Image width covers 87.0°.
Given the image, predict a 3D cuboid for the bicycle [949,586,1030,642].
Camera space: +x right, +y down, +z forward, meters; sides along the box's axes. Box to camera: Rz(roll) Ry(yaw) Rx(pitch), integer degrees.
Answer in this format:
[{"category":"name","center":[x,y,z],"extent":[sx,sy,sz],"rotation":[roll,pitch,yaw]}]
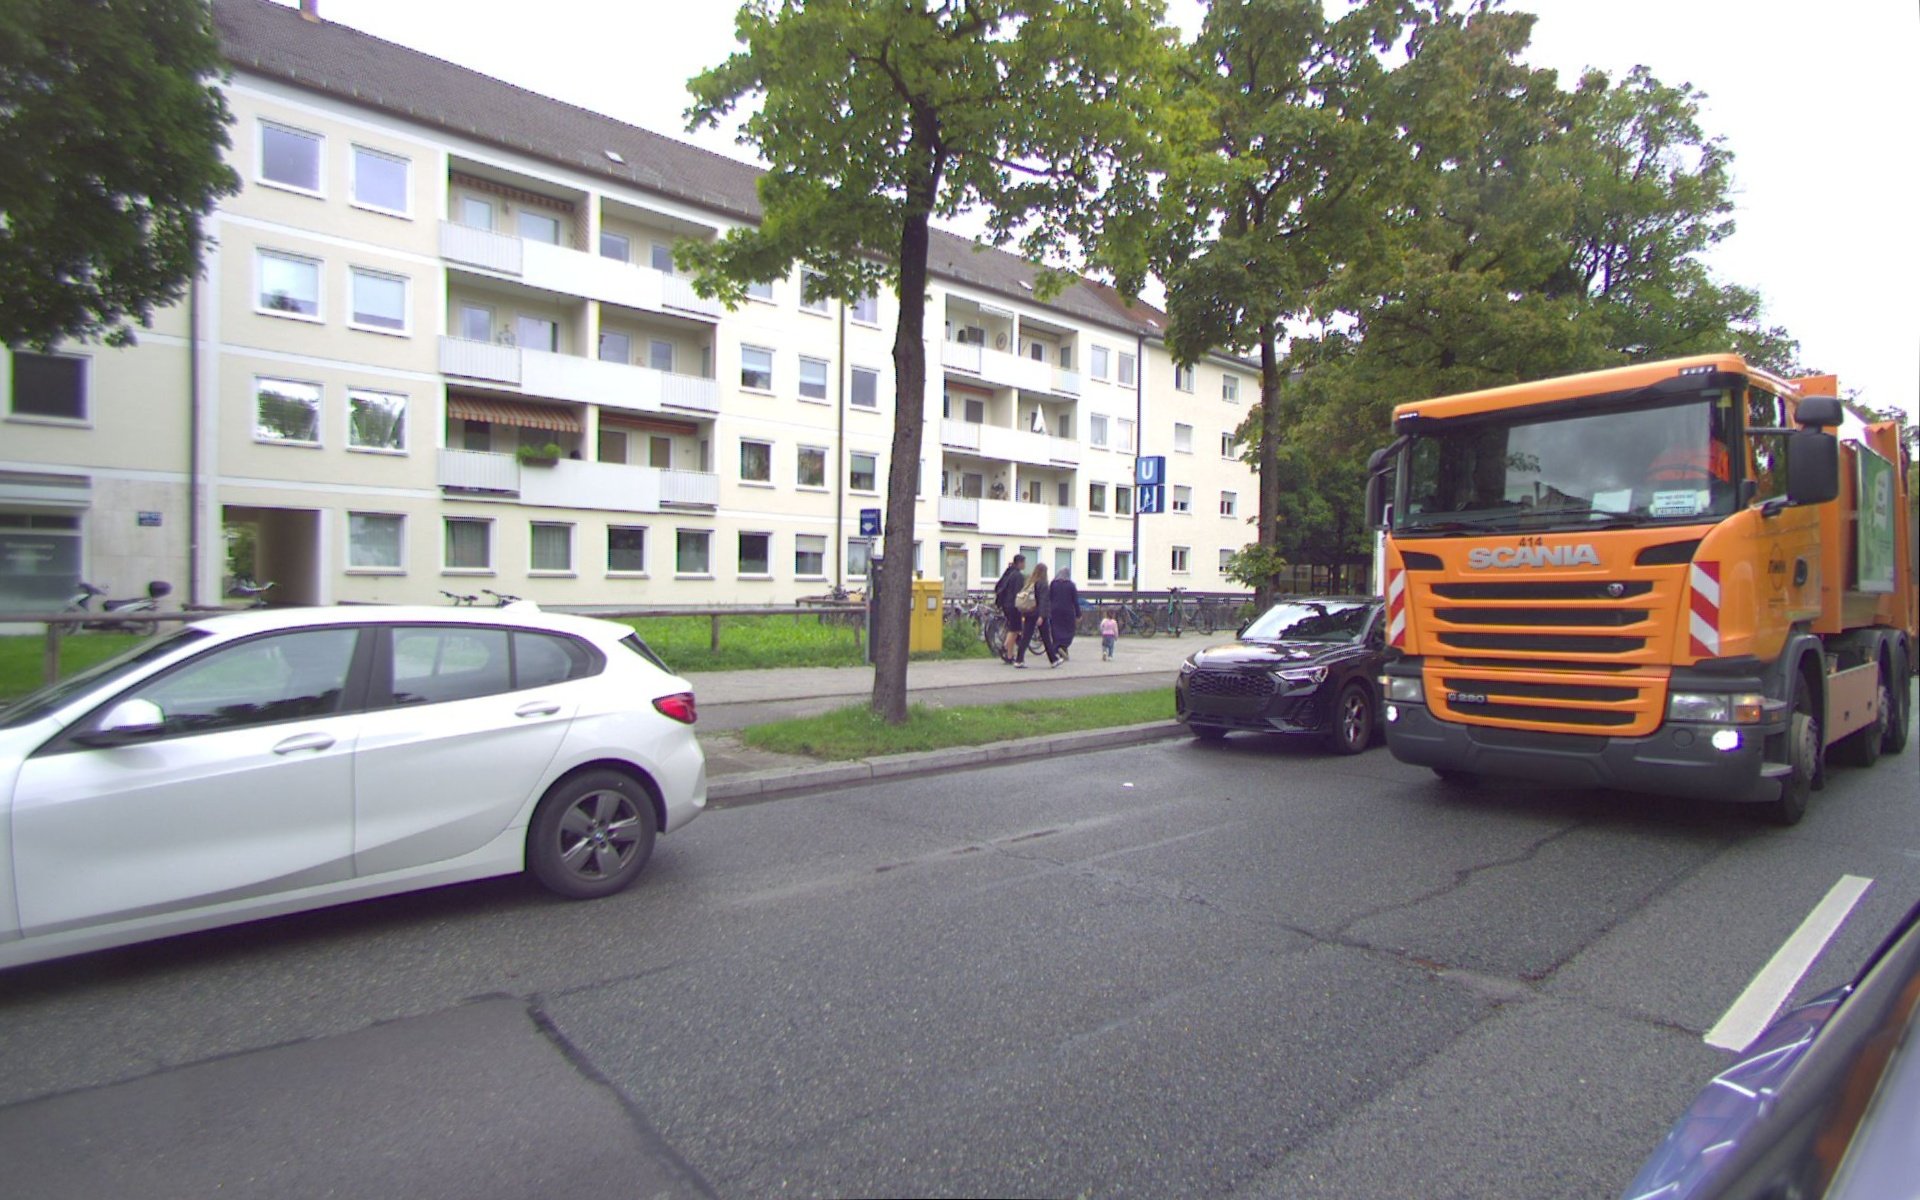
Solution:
[{"category":"bicycle","center":[0.628,0.287,21.126],"extent":[1.850,1.115,0.432],"rotation":[0,2,-41]}]

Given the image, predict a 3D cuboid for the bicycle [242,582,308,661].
[{"category":"bicycle","center":[-8.865,0.253,13.077],"extent":[0.548,0.951,1.881],"rotation":[0,0,-39]}]

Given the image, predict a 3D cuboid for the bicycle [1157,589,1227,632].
[{"category":"bicycle","center":[6.167,0.260,27.020],"extent":[0.425,1.041,1.879],"rotation":[0,2,-43]}]

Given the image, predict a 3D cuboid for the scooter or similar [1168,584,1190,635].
[{"category":"scooter or similar","center":[5.493,0.226,25.420],"extent":[0.352,1.215,1.388],"rotation":[1,2,6]}]

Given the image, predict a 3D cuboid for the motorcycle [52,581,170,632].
[{"category":"motorcycle","center":[-17.809,0.118,21.272],"extent":[1.873,1.036,0.605],"rotation":[0,0,-41]}]

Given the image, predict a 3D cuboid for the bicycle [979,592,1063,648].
[{"category":"bicycle","center":[1.229,0.381,20.017],"extent":[1.850,1.041,0.432],"rotation":[0,2,-41]}]

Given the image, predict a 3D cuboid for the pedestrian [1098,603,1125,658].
[{"category":"pedestrian","center":[2.742,0.546,18.339],"extent":[0.401,0.961,0.435],"rotation":[1,1,1]}]

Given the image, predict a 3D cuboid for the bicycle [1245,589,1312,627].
[{"category":"bicycle","center":[9.438,0.216,30.025],"extent":[1.878,1.041,0.426],"rotation":[3,2,44]}]

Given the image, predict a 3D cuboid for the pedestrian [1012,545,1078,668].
[{"category":"pedestrian","center":[1.370,0.083,16.275],"extent":[0.886,1.913,0.589],"rotation":[0,1,-42]}]

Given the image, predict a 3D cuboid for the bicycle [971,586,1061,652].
[{"category":"bicycle","center":[1.058,0.346,18.666],"extent":[1.850,1.147,0.432],"rotation":[1,1,-41]}]

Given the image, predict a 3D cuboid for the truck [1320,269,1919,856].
[{"category":"truck","center":[7.167,-0.225,9.684],"extent":[8.974,3.229,3.044],"rotation":[0,0,-41]}]

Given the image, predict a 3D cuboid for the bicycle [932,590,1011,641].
[{"category":"bicycle","center":[0.259,0.321,21.704],"extent":[1.850,1.041,0.432],"rotation":[0,2,-41]}]

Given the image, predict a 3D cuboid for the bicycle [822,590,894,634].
[{"category":"bicycle","center":[-2.531,0.288,25.191],"extent":[1.850,1.041,0.432],"rotation":[0,2,-41]}]

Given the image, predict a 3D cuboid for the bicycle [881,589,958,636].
[{"category":"bicycle","center":[-0.911,0.276,23.111],"extent":[1.850,1.041,0.432],"rotation":[0,2,-41]}]

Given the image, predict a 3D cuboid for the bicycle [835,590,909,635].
[{"category":"bicycle","center":[-2.090,0.296,24.343],"extent":[1.850,1.041,0.432],"rotation":[0,2,-41]}]

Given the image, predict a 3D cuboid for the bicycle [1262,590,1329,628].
[{"category":"bicycle","center":[9.998,0.251,30.215],"extent":[1.876,1.041,0.426],"rotation":[3,2,42]}]

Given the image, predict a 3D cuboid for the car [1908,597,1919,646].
[{"category":"car","center":[31.193,0.646,31.642],"extent":[4.585,1.461,1.798],"rotation":[0,-1,-41]}]

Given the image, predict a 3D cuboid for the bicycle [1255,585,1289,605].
[{"category":"bicycle","center":[16.131,-0.262,52.367],"extent":[0.448,0.983,1.693],"rotation":[1,1,-44]}]

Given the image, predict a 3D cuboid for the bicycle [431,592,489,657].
[{"category":"bicycle","center":[-8.023,0.363,16.213],"extent":[0.425,0.986,1.881],"rotation":[0,0,-39]}]

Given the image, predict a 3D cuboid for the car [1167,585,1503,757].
[{"category":"car","center":[4.274,0.645,11.200],"extent":[4.201,1.552,1.719],"rotation":[0,0,-41]}]

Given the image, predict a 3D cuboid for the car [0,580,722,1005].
[{"category":"car","center":[-3.342,0.689,4.702],"extent":[4.066,1.484,1.684],"rotation":[0,-1,-42]}]

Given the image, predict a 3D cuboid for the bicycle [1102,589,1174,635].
[{"category":"bicycle","center":[4.438,0.284,25.311],"extent":[0.425,1.041,1.879],"rotation":[0,2,-43]}]

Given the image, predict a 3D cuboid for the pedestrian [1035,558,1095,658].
[{"category":"pedestrian","center":[1.874,0.124,18.010],"extent":[0.832,1.702,0.828],"rotation":[1,1,23]}]

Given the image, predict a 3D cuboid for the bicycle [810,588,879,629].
[{"category":"bicycle","center":[-2.990,0.214,26.322],"extent":[1.850,1.041,0.432],"rotation":[0,2,-41]}]

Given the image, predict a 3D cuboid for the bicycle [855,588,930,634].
[{"category":"bicycle","center":[-1.578,0.248,23.832],"extent":[1.850,1.041,0.432],"rotation":[0,2,-41]}]

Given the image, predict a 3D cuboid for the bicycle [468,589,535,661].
[{"category":"bicycle","center":[-6.689,0.332,14.708],"extent":[0.425,0.986,1.881],"rotation":[0,0,-39]}]

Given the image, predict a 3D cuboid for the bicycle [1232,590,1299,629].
[{"category":"bicycle","center":[8.858,0.254,29.396],"extent":[0.425,1.041,1.879],"rotation":[0,2,-43]}]

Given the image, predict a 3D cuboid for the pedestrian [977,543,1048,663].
[{"category":"pedestrian","center":[0.873,0.028,16.745],"extent":[0.904,1.913,0.730],"rotation":[0,2,-42]}]

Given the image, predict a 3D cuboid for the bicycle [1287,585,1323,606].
[{"category":"bicycle","center":[17.392,-0.243,51.104],"extent":[0.448,0.983,1.693],"rotation":[1,1,-44]}]

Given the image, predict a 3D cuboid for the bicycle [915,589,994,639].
[{"category":"bicycle","center":[-0.104,0.301,22.153],"extent":[1.850,1.041,0.432],"rotation":[0,2,-41]}]
